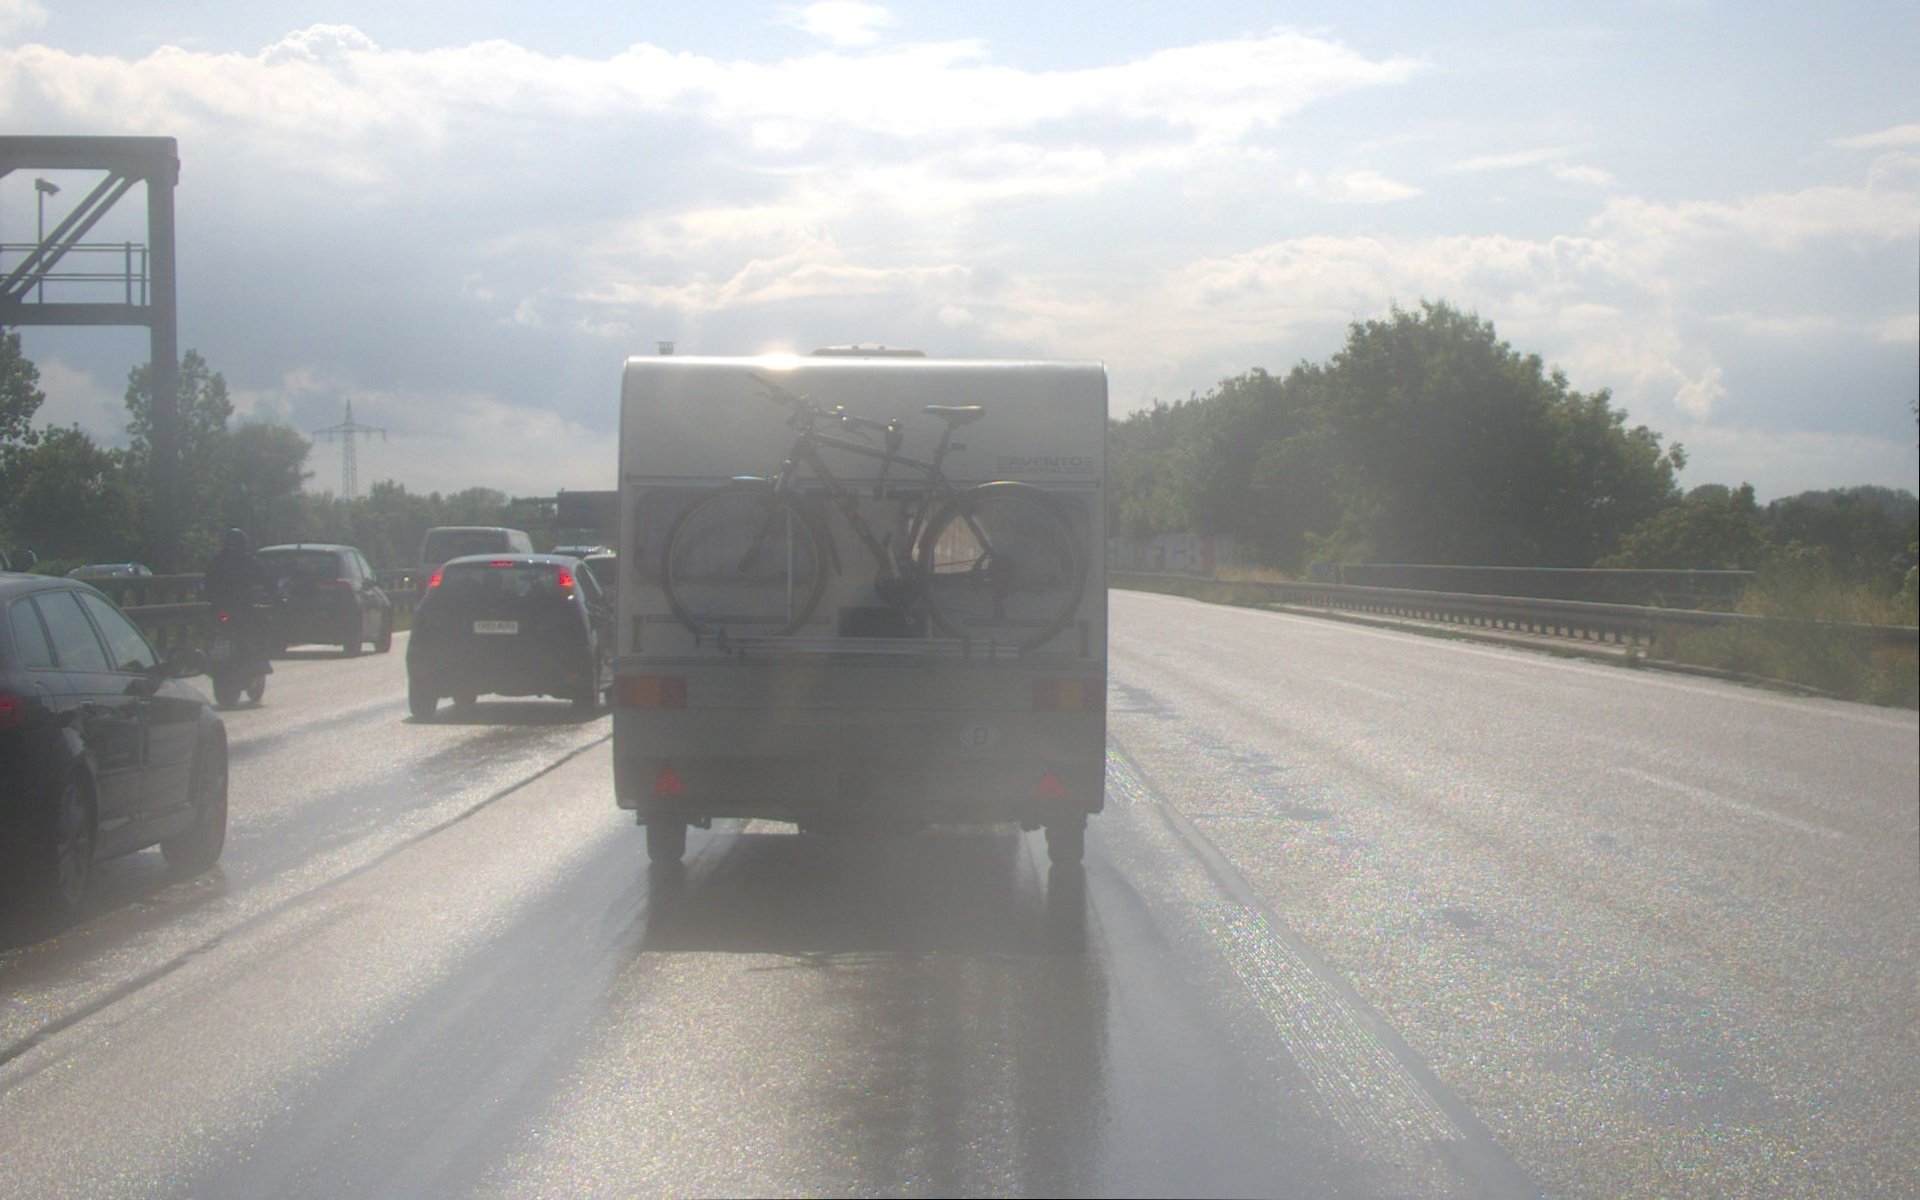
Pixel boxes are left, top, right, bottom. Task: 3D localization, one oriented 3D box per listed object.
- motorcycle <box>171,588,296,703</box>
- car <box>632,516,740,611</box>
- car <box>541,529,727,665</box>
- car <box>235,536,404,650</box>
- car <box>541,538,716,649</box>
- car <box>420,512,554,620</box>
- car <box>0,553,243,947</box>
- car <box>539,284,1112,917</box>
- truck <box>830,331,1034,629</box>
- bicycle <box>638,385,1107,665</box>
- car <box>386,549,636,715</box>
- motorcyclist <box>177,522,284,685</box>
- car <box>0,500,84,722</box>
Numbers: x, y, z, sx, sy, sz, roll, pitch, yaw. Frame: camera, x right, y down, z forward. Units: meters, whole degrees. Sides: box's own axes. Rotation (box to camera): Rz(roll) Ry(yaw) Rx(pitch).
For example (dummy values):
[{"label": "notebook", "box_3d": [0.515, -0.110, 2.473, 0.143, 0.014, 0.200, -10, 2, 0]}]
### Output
[{"label": "motorcycle", "box_3d": [-6.913, 0.418, 32.818, 0.690, 1.024, 2.388, 0, 1, 0]}, {"label": "car", "box_3d": [-4.929, -0.673, 62.213, 1.689, 1.656, 3.641, 0, 1, 0]}, {"label": "car", "box_3d": [-3.768, -0.063, 40.296, 1.863, 1.503, 4.000, 0, 1, -1]}, {"label": "car", "box_3d": [-9.217, -0.125, 49.724, 1.783, 1.573, 3.916, 0, 1, -1]}, {"label": "car", "box_3d": [-4.509, -0.113, 47.257, 1.987, 1.453, 3.826, 0, 1, 1]}, {"label": "car", "box_3d": [-8.768, -0.658, 64.128, 1.848, 1.927, 5.016, 0, 1, -1]}, {"label": "car", "box_3d": [-4.342, 0.523, 14.656, 1.750, 1.428, 4.054, 0, 1, 0]}, {"label": "car", "box_3d": [-0.549, -0.020, 16.621, 2.410, 2.665, 4.000, 1, 1, 1]}, {"label": "truck", "box_3d": [-0.525, -1.934, 58.633, 3.146, 4.610, 10.736, 0, 1, -1]}, {"label": "bicycle", "box_3d": [-0.358, -0.312, 14.410, 1.934, 1.137, 0.384, 1, 0, 2]}, {"label": "car", "box_3d": [-4.122, 0.250, 32.128, 1.758, 1.438, 4.000, 0, 1, 1]}, {"label": "motorcyclist", "box_3d": [-6.978, 0.024, 32.940, 0.796, 1.532, 1.093, 0, 1, 0]}, {"label": "car", "box_3d": [-8.866, 0.088, 28.389, 1.806, 1.838, 5.418, 0, 1, 1]}]
